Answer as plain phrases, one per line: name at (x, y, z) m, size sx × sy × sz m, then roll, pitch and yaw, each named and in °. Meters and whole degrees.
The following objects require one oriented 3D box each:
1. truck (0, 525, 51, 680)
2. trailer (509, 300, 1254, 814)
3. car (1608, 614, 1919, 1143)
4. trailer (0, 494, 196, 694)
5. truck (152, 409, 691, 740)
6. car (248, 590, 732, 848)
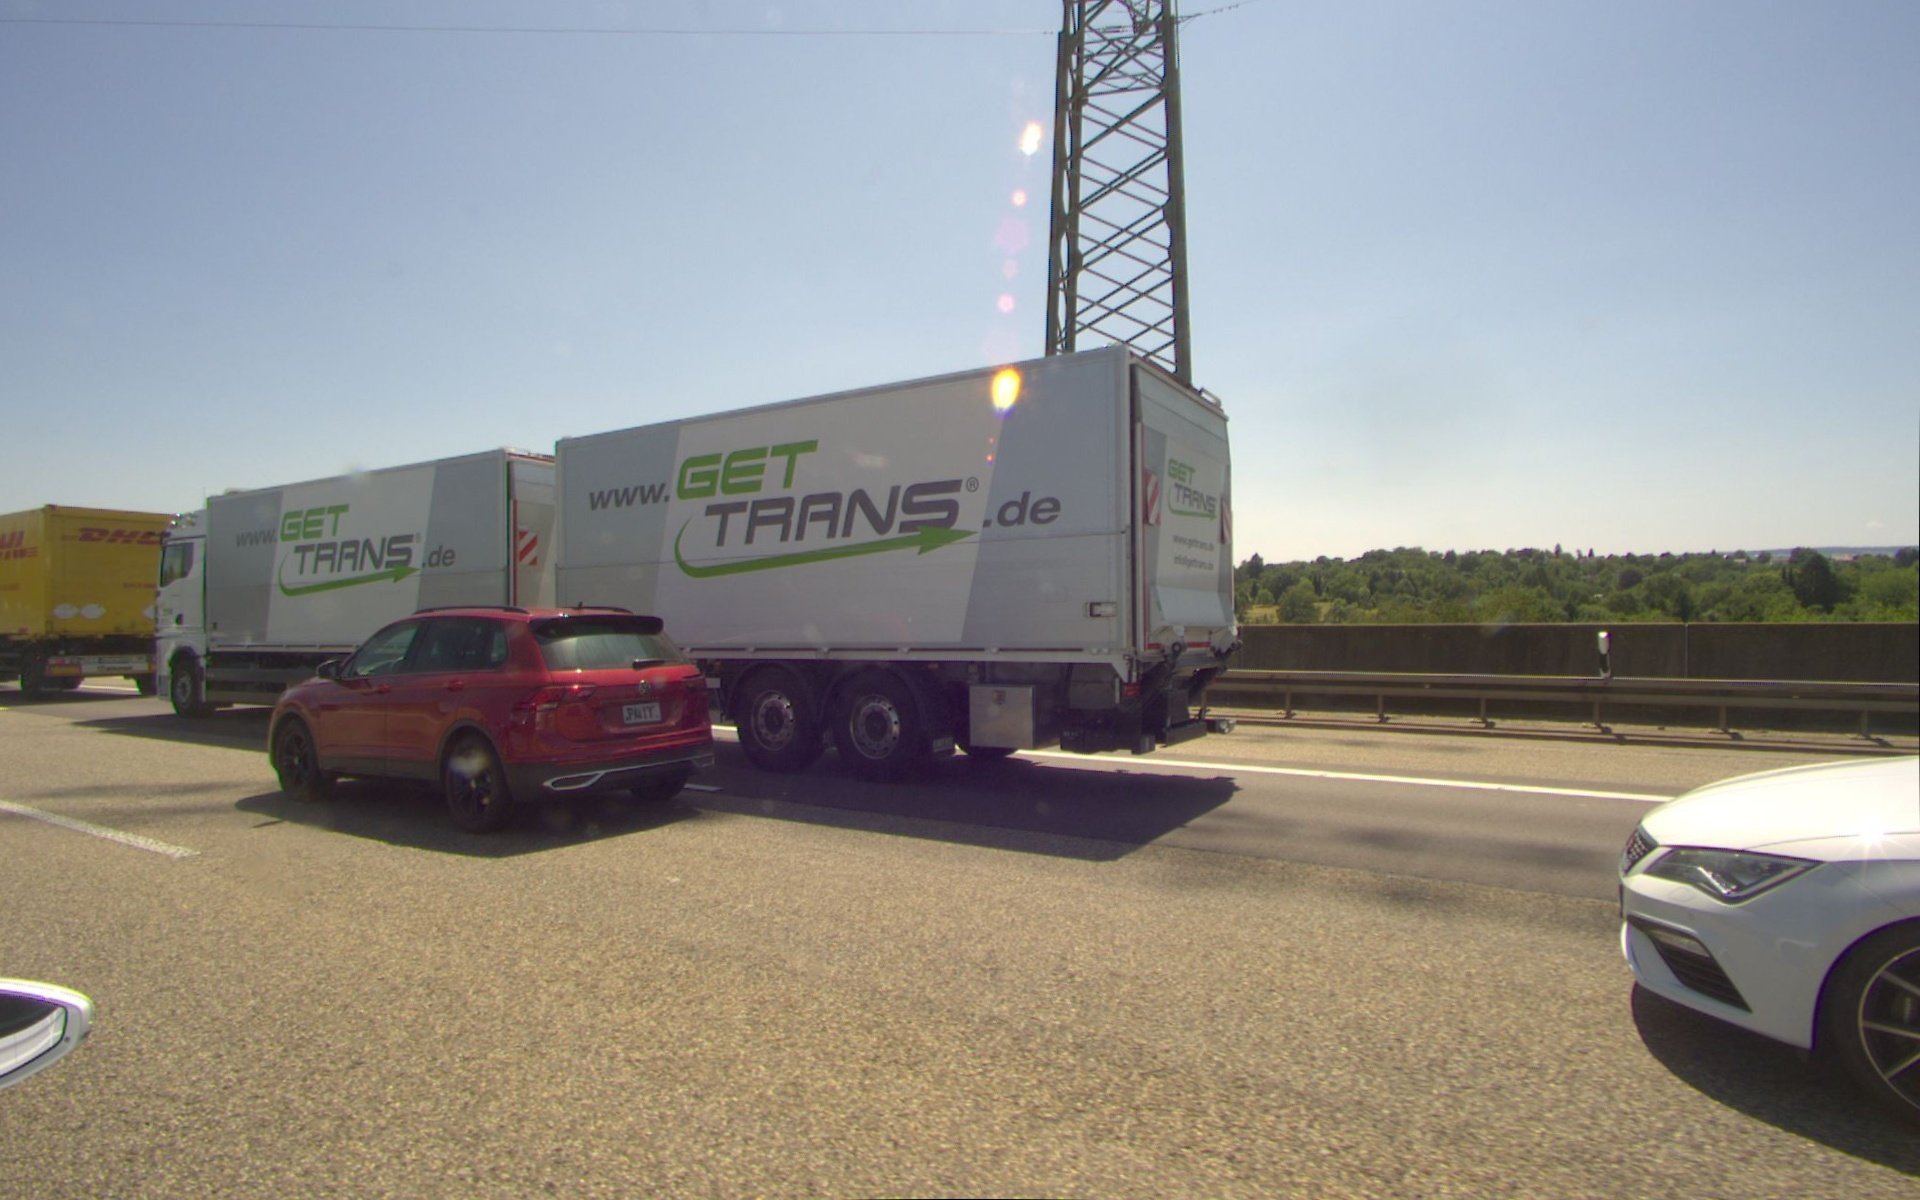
truck at (-29.962, 0.183, 29.041) m, size 9.796 × 4.139 × 2.695 m, roll -2°, pitch -2°, yaw 32°
trailer at (-1.220, -0.188, 11.066) m, size 8.097 × 3.940 × 2.894 m, roll -2°, pitch -2°, yaw 32°
car at (4.388, 0.782, 2.713) m, size 4.365 × 1.470 × 1.706 m, roll -1°, pitch -2°, yaw 32°
trailer at (-22.019, 0.031, 24.135) m, size 8.850 × 4.139 × 2.679 m, roll -2°, pitch -2°, yaw 31°
truck at (-9.040, -0.137, 16.043) m, size 10.459 × 3.984 × 2.847 m, roll -2°, pitch -2°, yaw 32°
car at (-4.074, 0.846, 8.461) m, size 4.224 × 1.701 × 1.705 m, roll -2°, pitch -1°, yaw 32°
